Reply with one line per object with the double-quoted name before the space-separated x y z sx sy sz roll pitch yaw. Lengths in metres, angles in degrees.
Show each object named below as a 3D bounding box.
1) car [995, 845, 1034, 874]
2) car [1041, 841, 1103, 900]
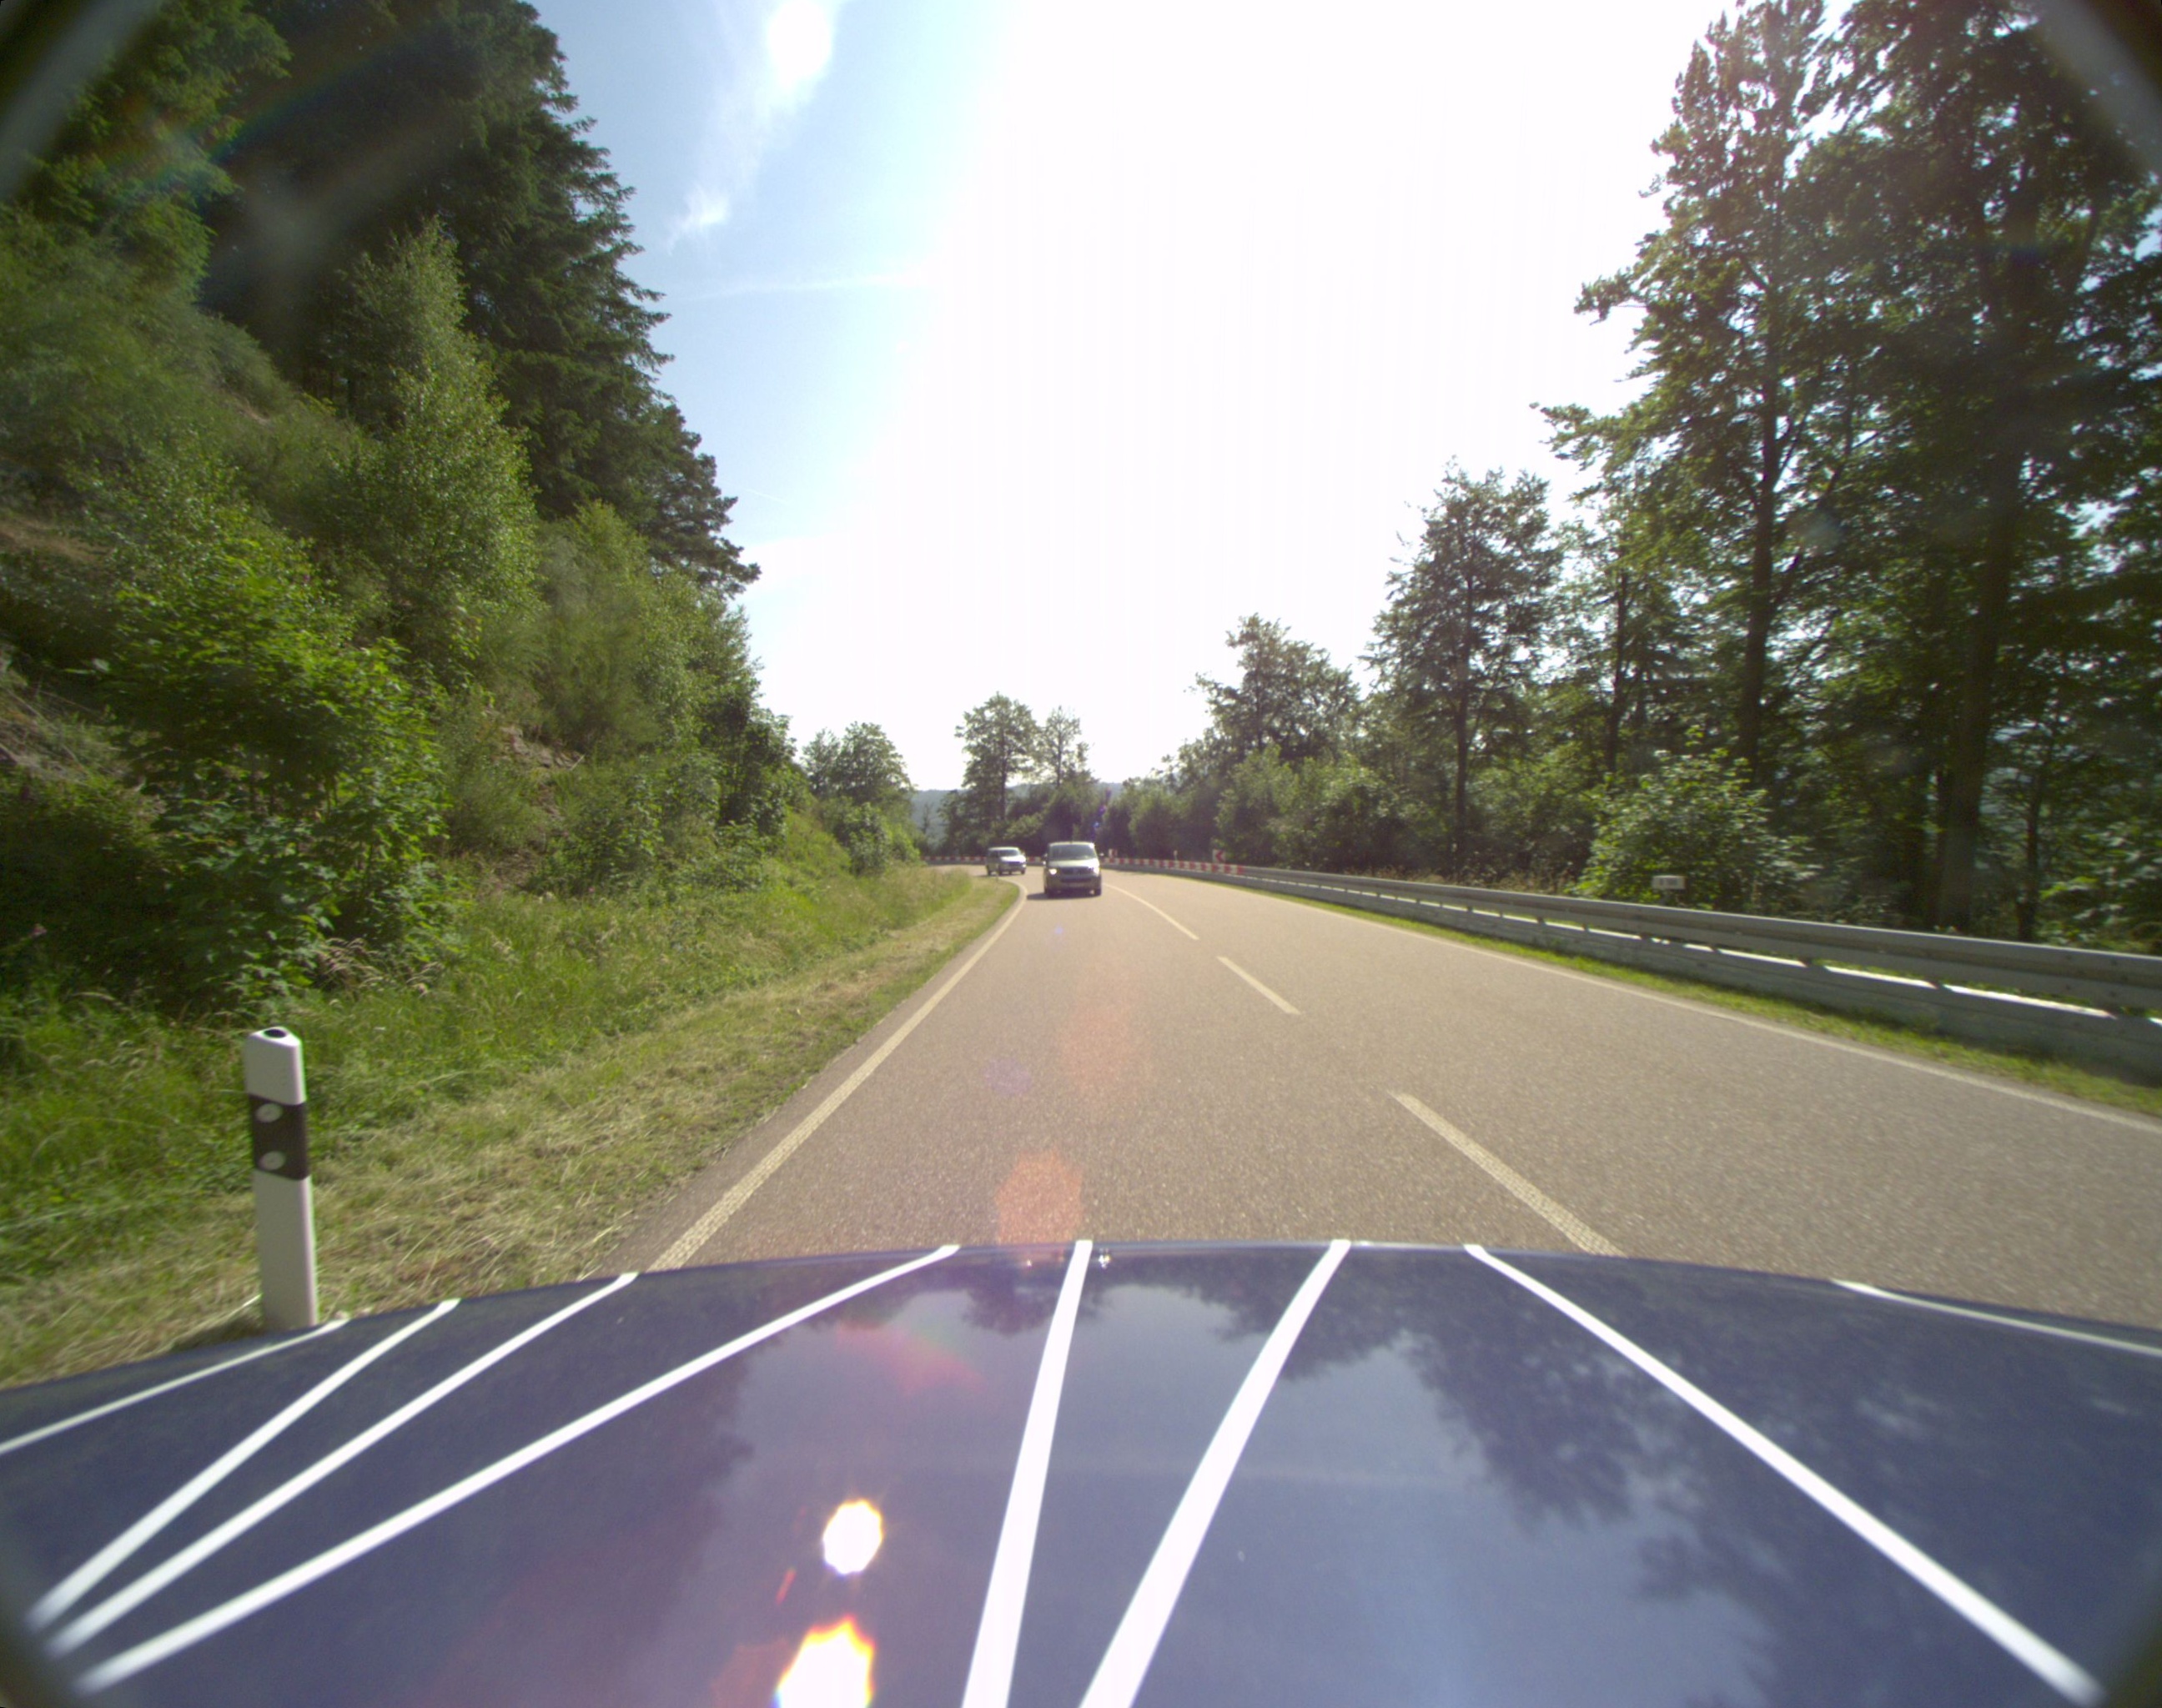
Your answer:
"car" -4.801 0.331 54.076 2.139 1.825 4.717 -4 1 -12
"car" -0.290 0.522 27.806 1.990 1.899 4.759 -2 1 0
